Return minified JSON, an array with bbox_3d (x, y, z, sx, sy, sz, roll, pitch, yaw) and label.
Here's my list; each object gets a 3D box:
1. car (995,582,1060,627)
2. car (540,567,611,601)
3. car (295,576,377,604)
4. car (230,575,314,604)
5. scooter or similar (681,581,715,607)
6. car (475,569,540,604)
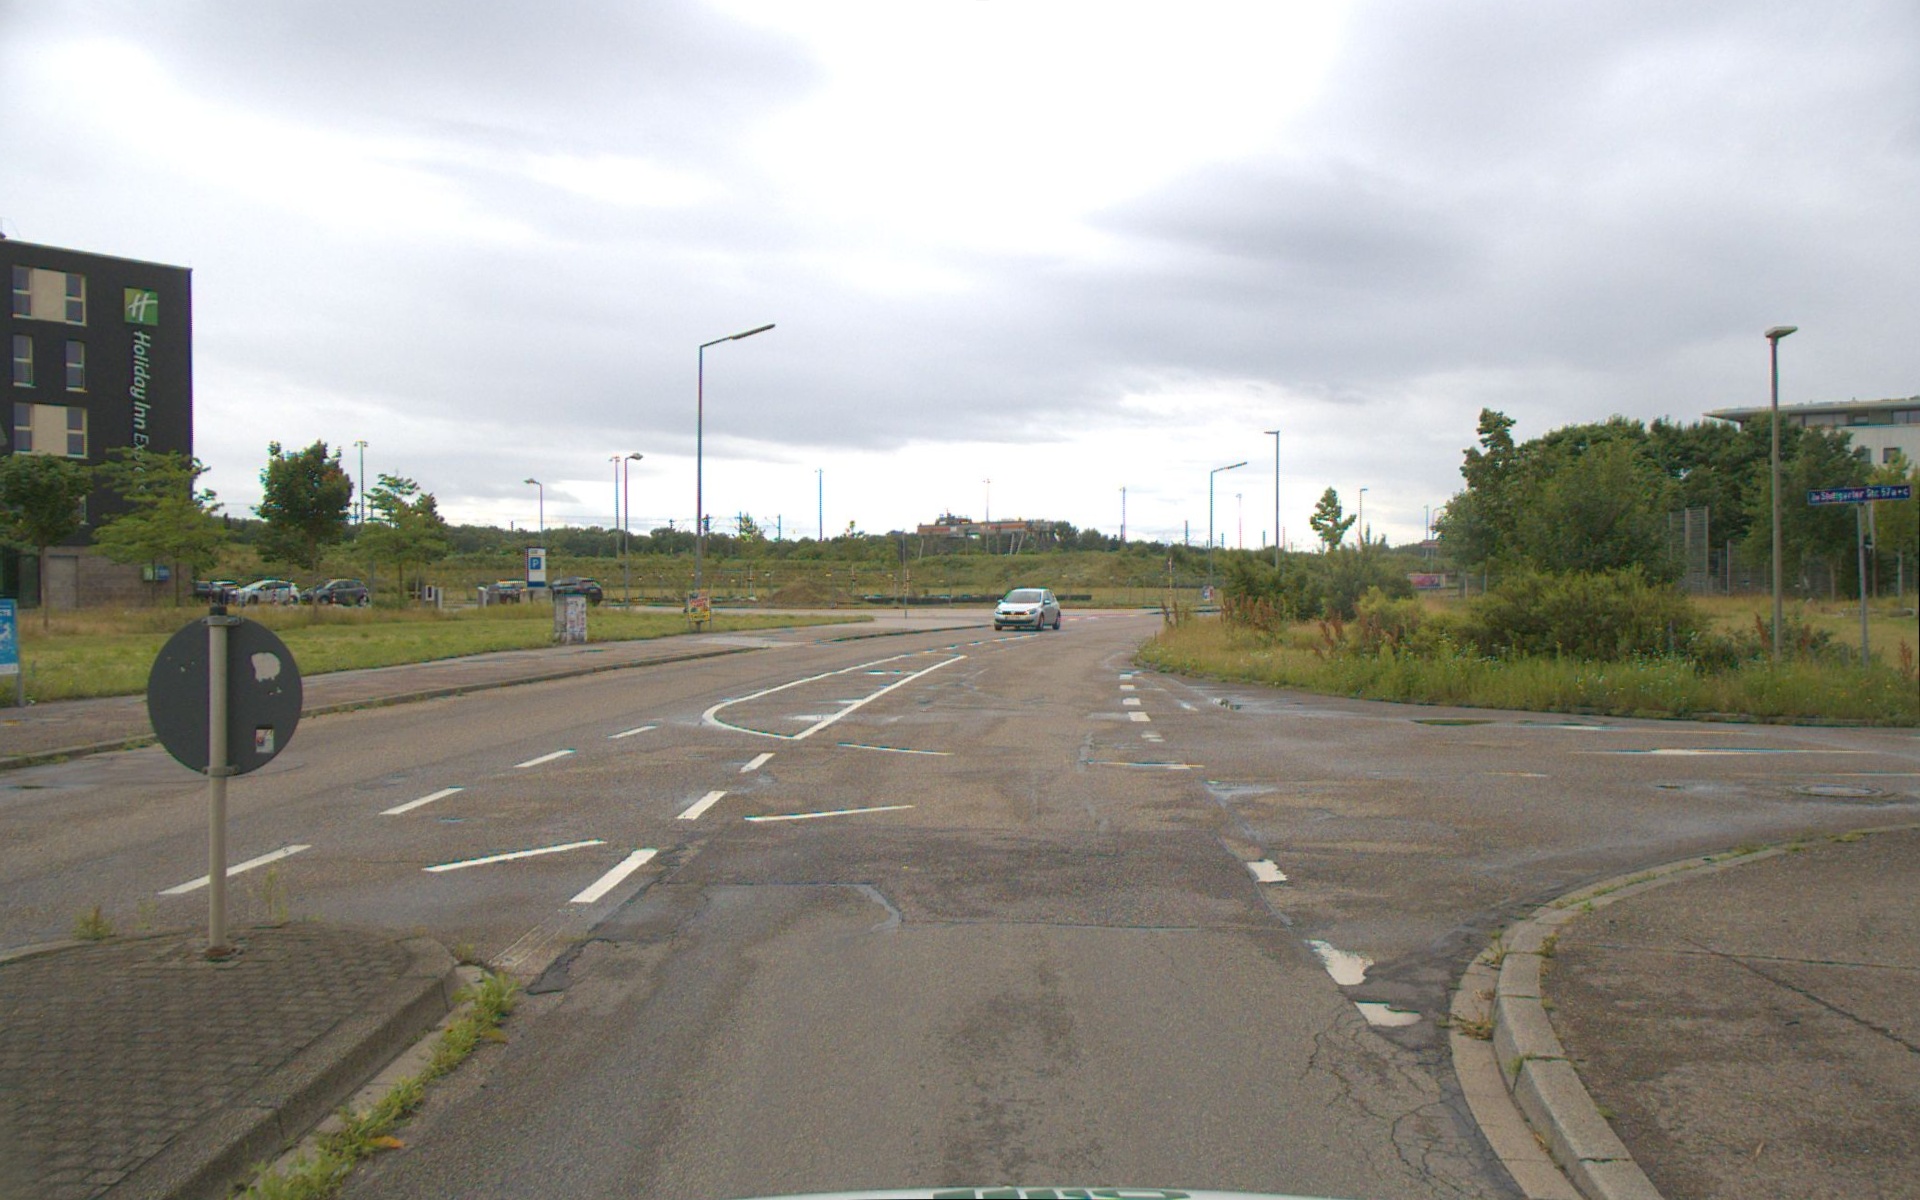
[{"bbox_3d":[2.476,0.134,59.945,1.636,1.487,4.060,2,1,12],"label":"car"},{"bbox_3d":[-22.092,-0.946,95.050,3.923,1.854,1.991,1,2,38],"label":"car"},{"bbox_3d":[-34.261,-0.574,90.933,1.664,1.467,3.987,1,2,35],"label":"car"},{"bbox_3d":[-39.771,-0.620,95.694,1.956,1.544,4.147,0,2,29],"label":"car"},{"bbox_3d":[-11.993,-0.288,75.742,1.431,1.188,0.572,1,1,11],"label":"scooter or similar"},{"bbox_3d":[-26.986,-0.817,98.642,3.930,2.048,1.988,1,2,43],"label":"car"}]
